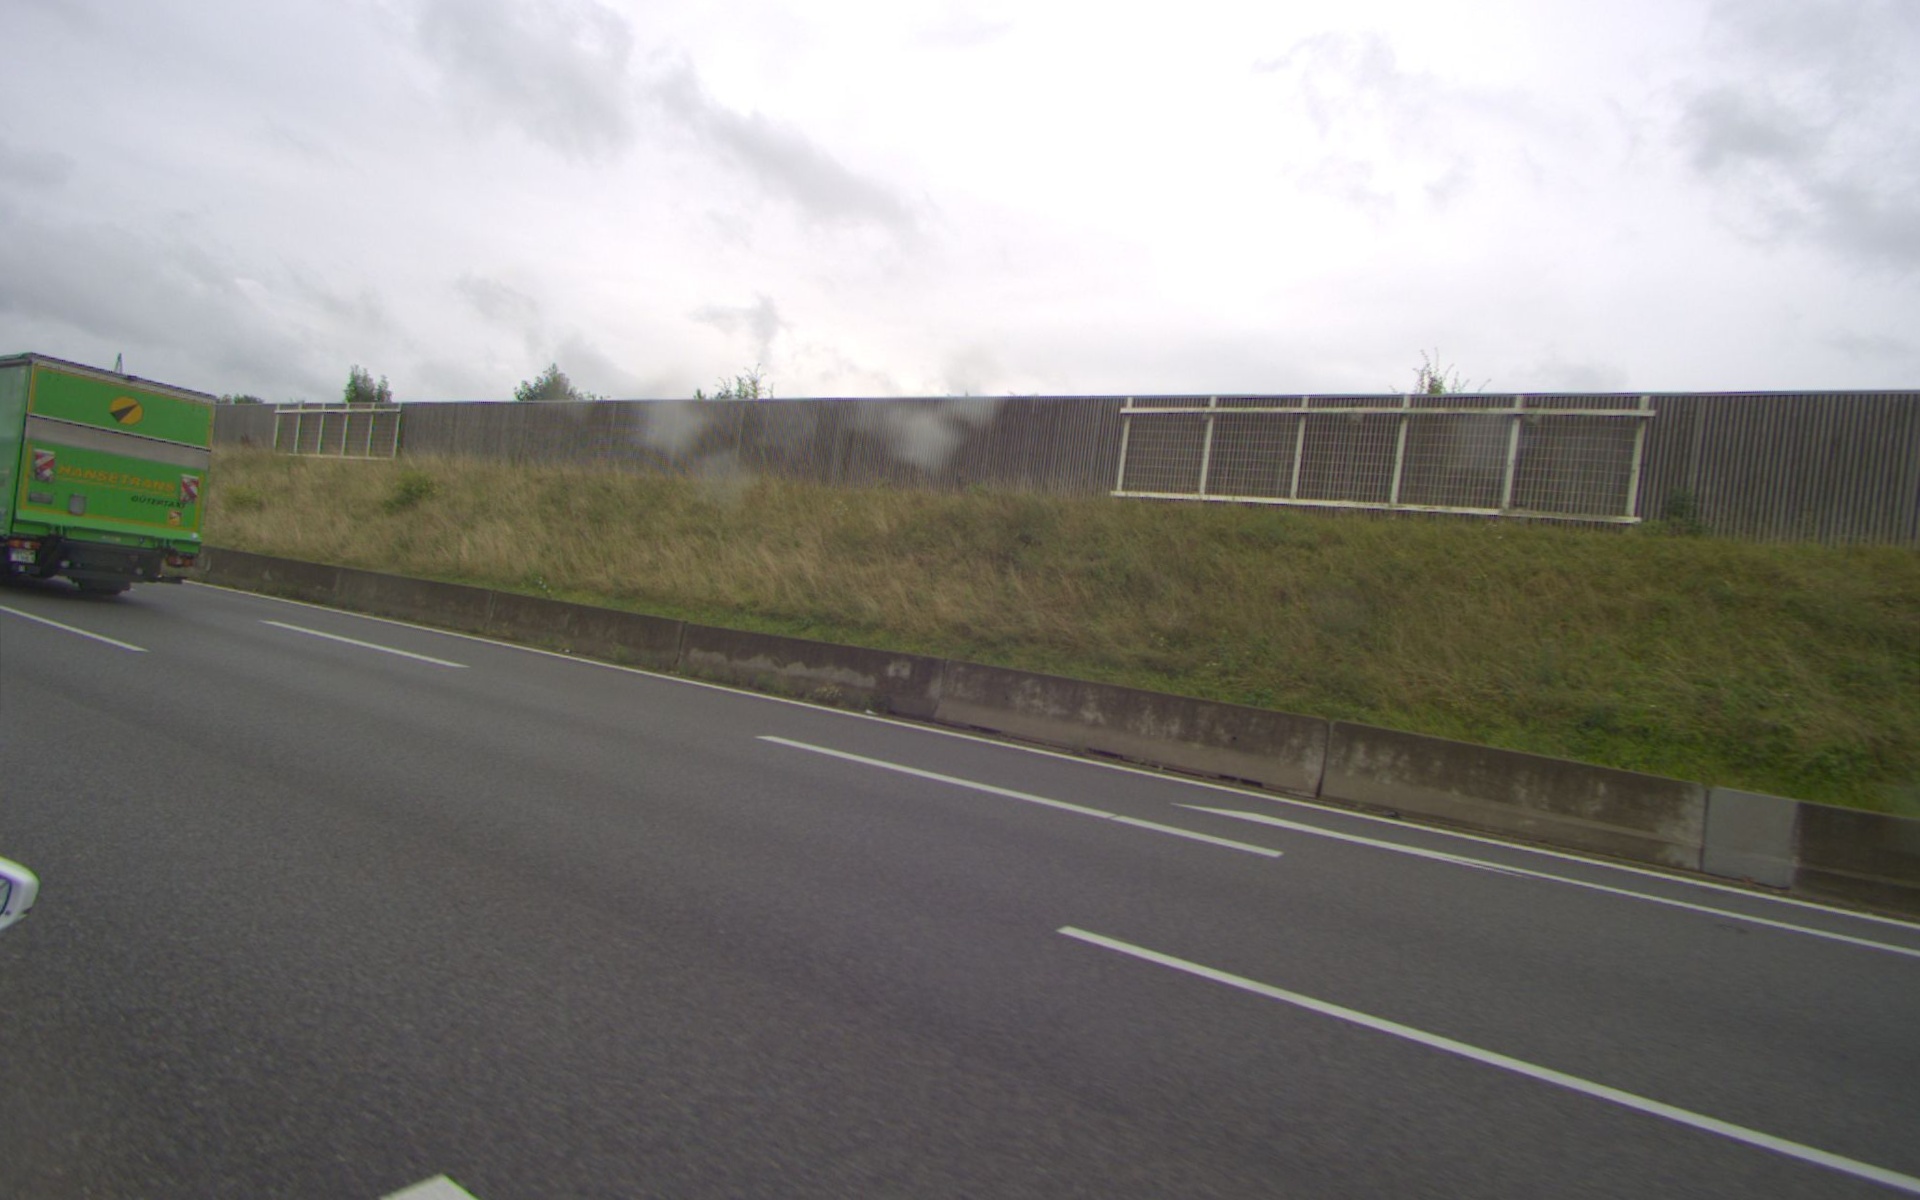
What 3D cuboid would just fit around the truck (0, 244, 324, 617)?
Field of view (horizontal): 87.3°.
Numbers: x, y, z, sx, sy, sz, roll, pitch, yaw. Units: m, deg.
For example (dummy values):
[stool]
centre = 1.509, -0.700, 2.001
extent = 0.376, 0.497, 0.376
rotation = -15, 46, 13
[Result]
[truck]
centre = -17.752, -3.050, 19.799
extent = 11.034, 5.327, 4.005
rotation = 7, -1, 32
